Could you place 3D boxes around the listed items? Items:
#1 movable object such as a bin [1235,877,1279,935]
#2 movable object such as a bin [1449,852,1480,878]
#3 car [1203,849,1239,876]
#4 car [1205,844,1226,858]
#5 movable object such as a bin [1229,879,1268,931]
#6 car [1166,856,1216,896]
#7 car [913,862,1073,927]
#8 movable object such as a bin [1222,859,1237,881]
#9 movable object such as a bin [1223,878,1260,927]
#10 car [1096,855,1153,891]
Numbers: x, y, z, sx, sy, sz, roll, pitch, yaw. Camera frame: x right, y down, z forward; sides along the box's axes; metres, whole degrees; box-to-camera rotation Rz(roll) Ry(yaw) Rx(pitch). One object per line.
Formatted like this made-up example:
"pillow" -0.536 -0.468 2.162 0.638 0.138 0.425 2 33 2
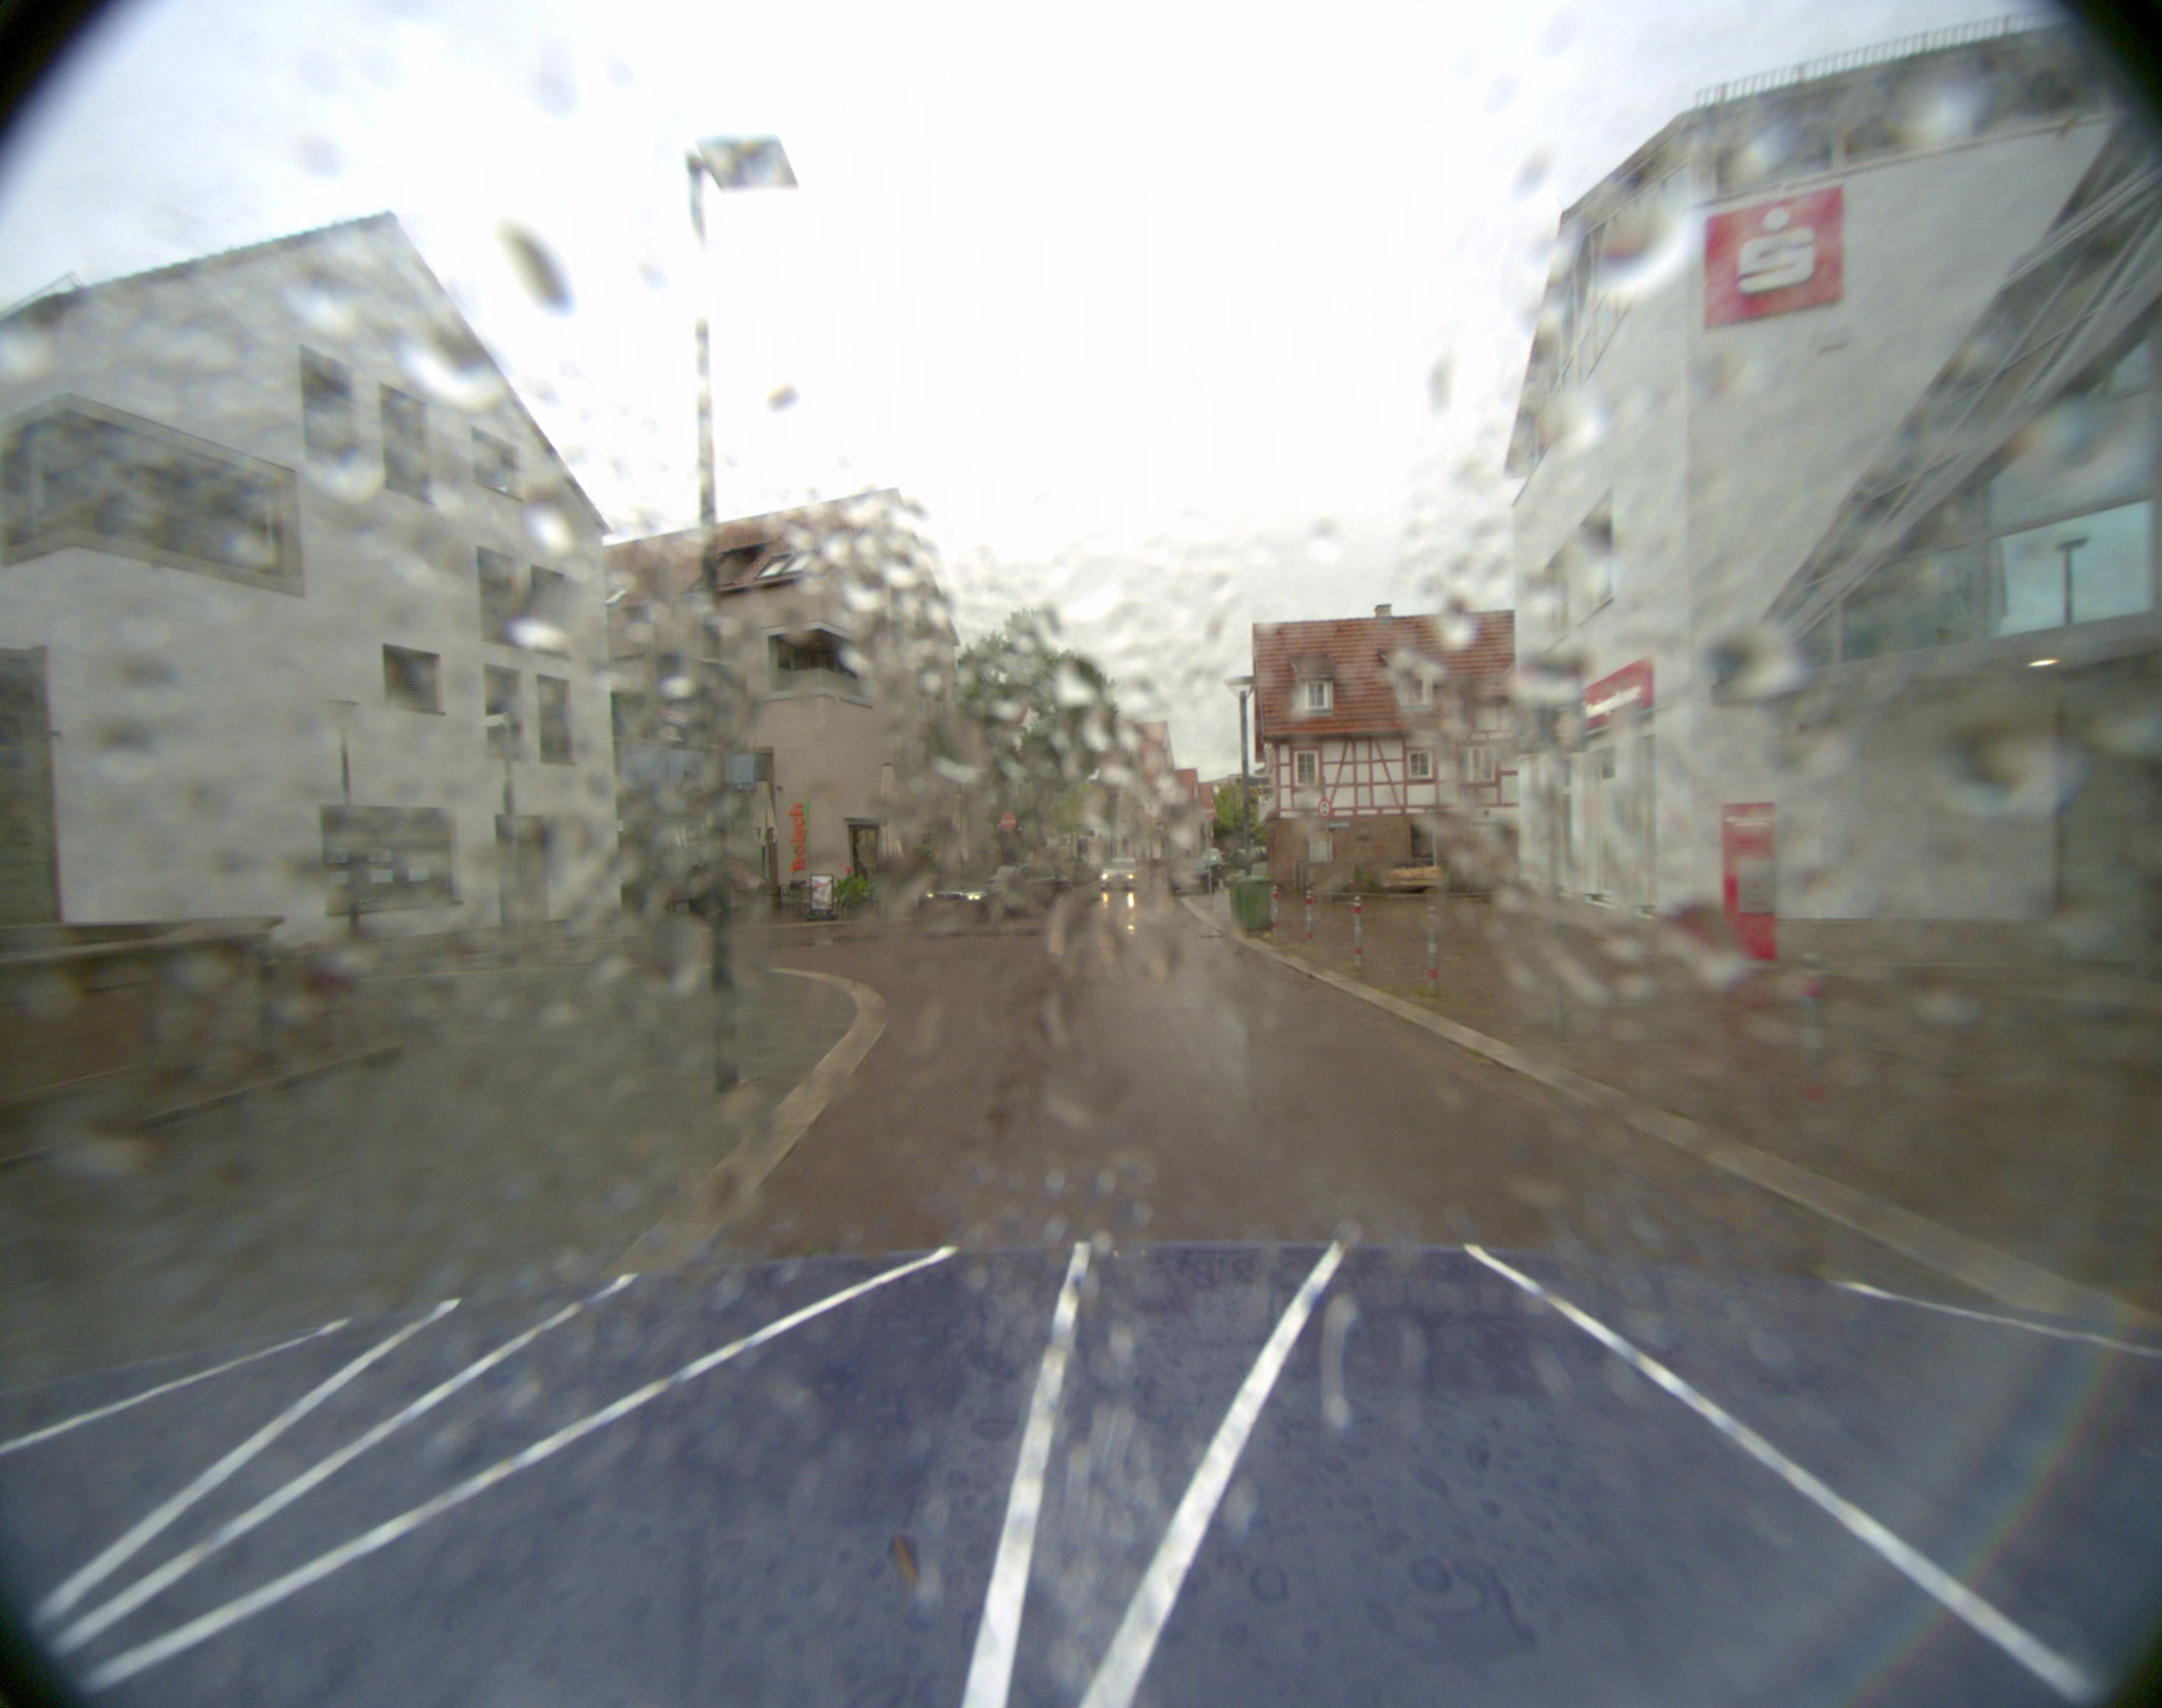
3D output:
"movable object such as a bin" 3.566 1.048 15.439 0.697 1.070 0.645 -4 1 1
"movable object such as a bin" 13.217 0.376 26.205 0.709 0.852 0.756 -1 1 1
"car" 8.634 0.517 46.692 1.805 1.434 4.004 -3 1 15
"car" 14.722 -0.366 82.866 1.865 1.452 4.004 -1 1 16
"movable object such as a bin" 3.566 1.071 16.207 0.697 1.045 0.645 -1 1 1
"car" 4.627 0.903 32.325 1.806 1.434 4.001 -3 1 5
"car" -2.138 0.972 19.797 1.875 1.362 4.453 -1 1 29
"movable object such as a bin" 6.993 0.752 35.851 0.612 1.016 0.530 -1 1 1
"movable object such as a bin" 3.577 1.071 16.969 0.697 1.041 0.645 -1 1 1
"car" 2.217 0.894 37.138 1.866 1.577 4.619 -1 1 15
